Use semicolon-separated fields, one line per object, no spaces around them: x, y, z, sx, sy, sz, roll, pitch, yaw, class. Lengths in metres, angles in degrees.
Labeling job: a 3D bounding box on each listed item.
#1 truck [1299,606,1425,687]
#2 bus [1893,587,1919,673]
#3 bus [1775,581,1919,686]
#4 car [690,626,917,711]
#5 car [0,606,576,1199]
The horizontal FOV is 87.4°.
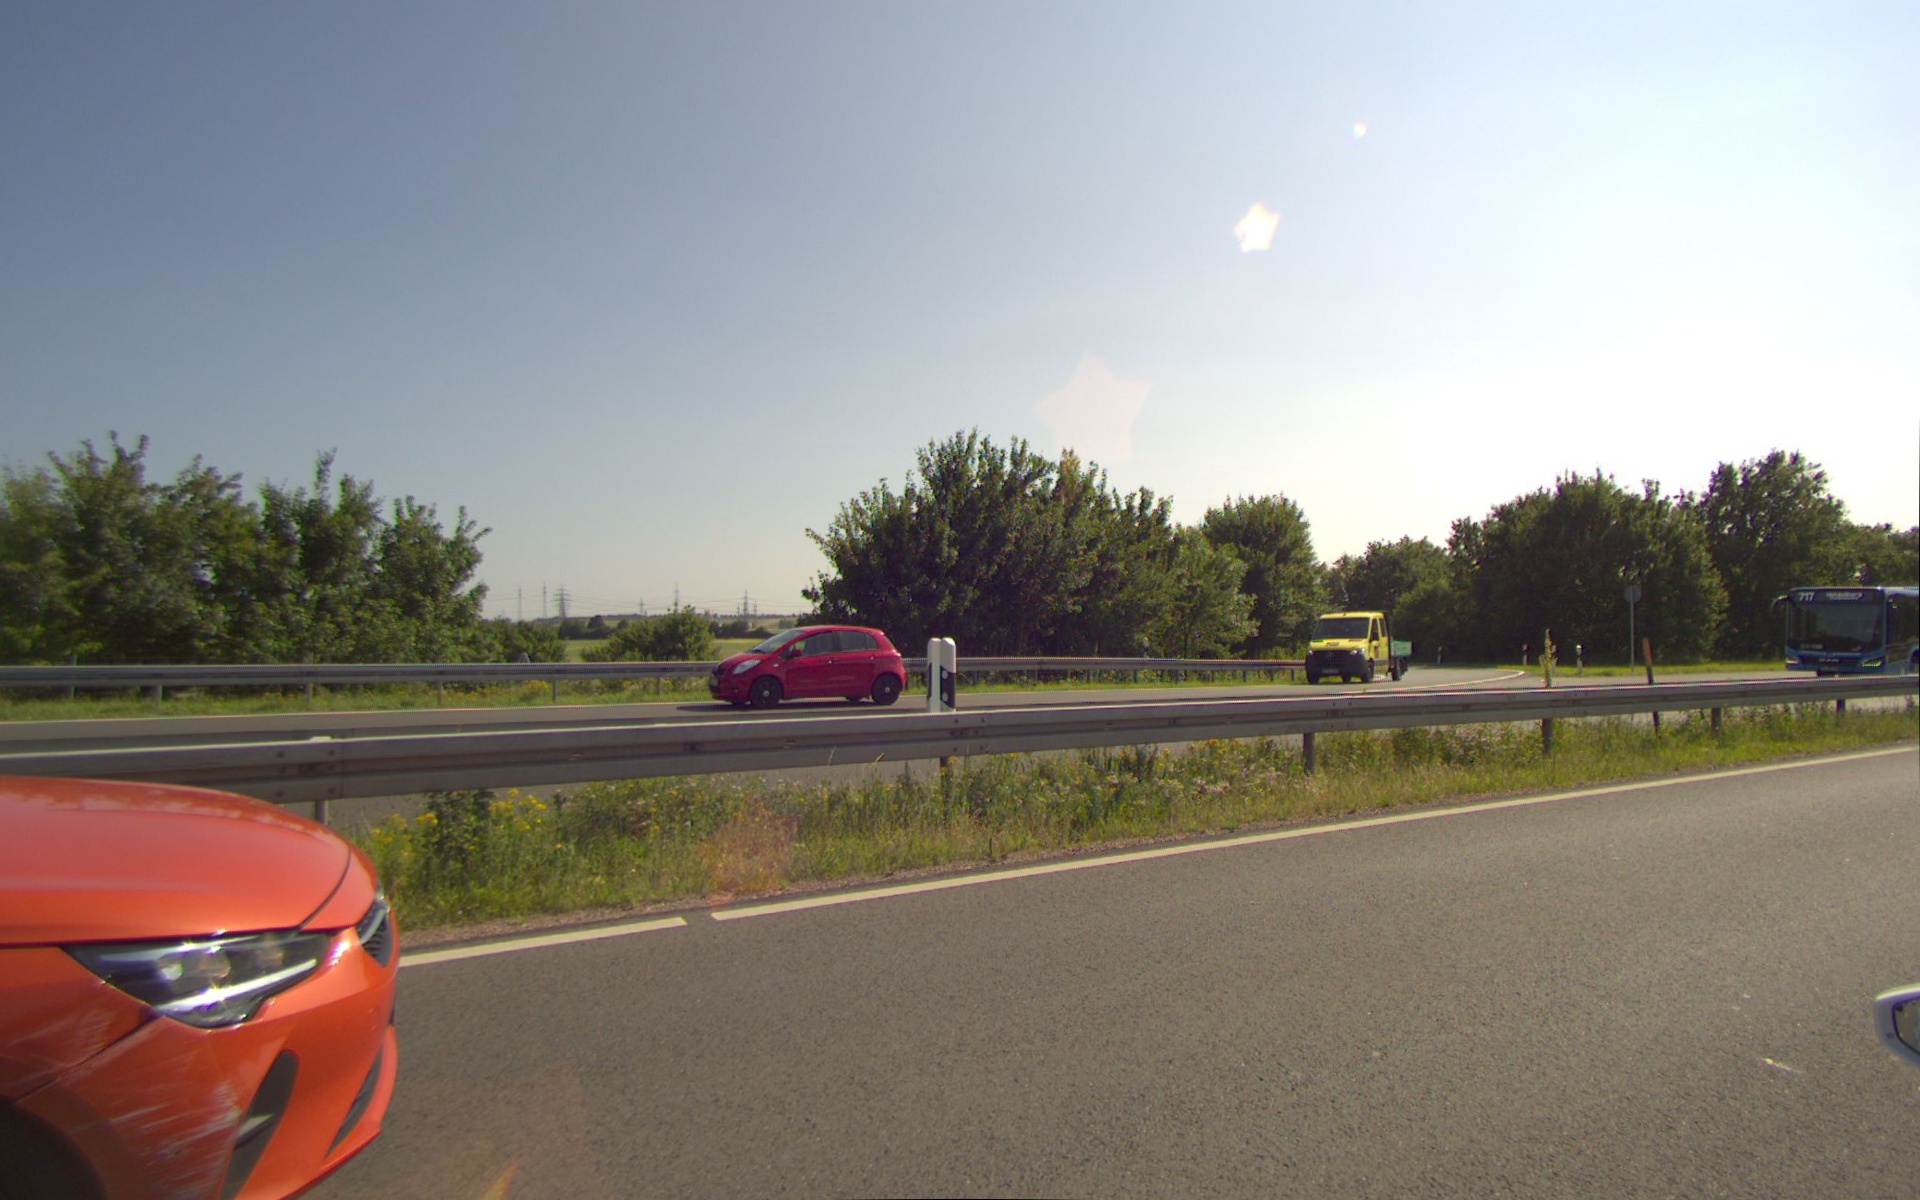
13.784;1.602;34.157;2.101;2.485;6.588;-3;-4;39;truck
39.064;1.166;38.370;8.293;3.151;2.713;1;-1;-30;bus
31.278;1.124;33.835;9.719;3.151;2.712;1;-1;-30;bus
-2.958;1.234;19.185;3.954;1.465;1.776;1;-2;-31;car
-3.148;0.731;1.837;4.360;1.456;1.701;1;-1;-31;car
